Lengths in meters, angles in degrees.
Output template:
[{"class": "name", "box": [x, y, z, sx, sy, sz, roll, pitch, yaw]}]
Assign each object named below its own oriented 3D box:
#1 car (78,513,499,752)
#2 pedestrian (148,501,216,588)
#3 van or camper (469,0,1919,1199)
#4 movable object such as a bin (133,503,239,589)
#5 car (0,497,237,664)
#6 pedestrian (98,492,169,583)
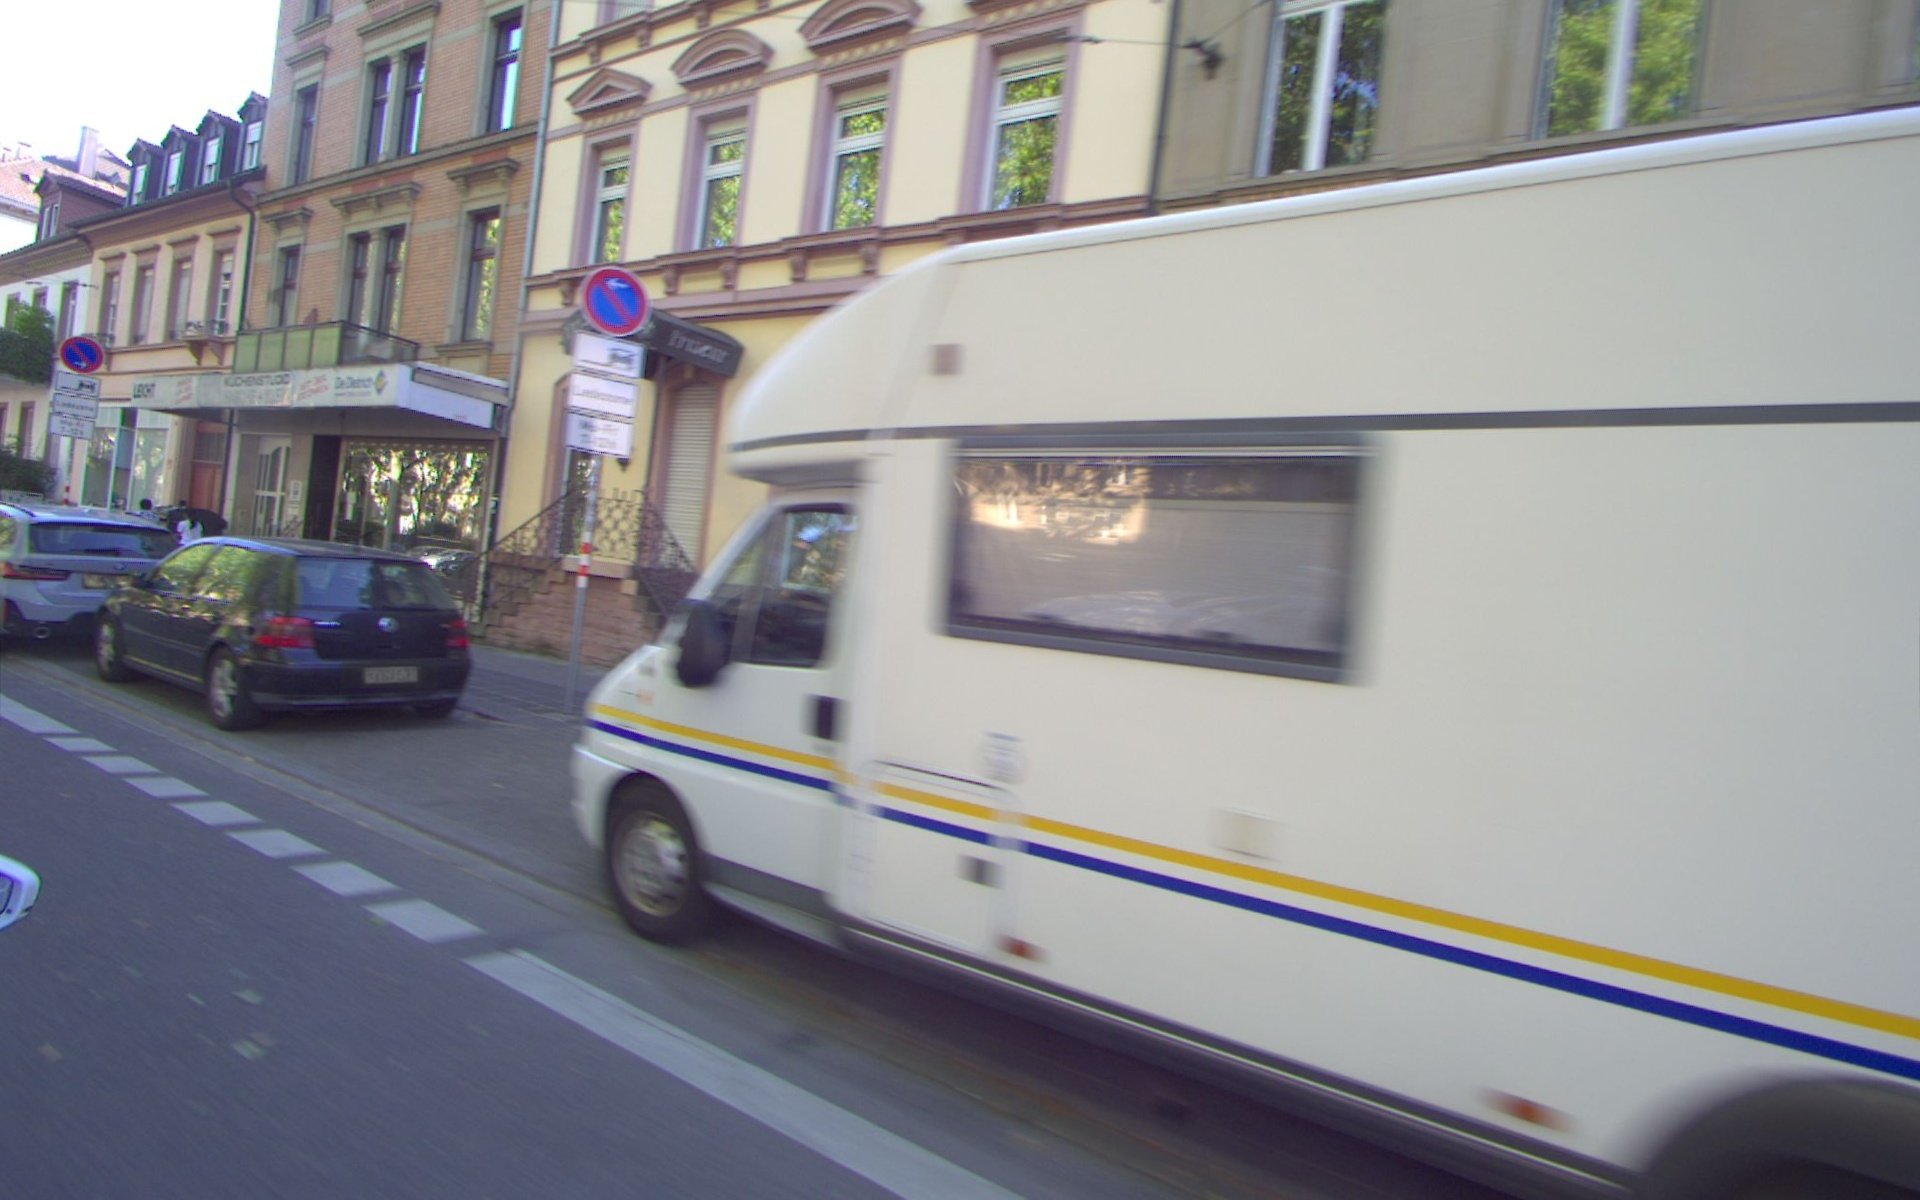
[{"class": "car", "box": [-5.839, 0.148, 8.585, 3.966, 1.453, 1.643, 6, 3, 35]}, {"class": "pedestrian", "box": [-14.466, -1.032, 18.714, 0.772, 1.501, 0.658, 7, 0, 33]}, {"class": "van or camper", "box": [1.619, 0.217, 3.521, 7.760, 3.012, 2.475, 6, 3, 35]}, {"class": "movable object such as a bin", "box": [-16.072, -1.121, 20.901, 1.265, 1.538, 1.295, 7, -1, 34]}, {"class": "car", "box": [-9.932, -0.328, 10.914, 4.590, 1.453, 1.810, 6, 0, 33]}, {"class": "pedestrian", "box": [-14.856, -1.121, 18.079, 0.852, 1.524, 0.660, 7, 1, 33]}]
